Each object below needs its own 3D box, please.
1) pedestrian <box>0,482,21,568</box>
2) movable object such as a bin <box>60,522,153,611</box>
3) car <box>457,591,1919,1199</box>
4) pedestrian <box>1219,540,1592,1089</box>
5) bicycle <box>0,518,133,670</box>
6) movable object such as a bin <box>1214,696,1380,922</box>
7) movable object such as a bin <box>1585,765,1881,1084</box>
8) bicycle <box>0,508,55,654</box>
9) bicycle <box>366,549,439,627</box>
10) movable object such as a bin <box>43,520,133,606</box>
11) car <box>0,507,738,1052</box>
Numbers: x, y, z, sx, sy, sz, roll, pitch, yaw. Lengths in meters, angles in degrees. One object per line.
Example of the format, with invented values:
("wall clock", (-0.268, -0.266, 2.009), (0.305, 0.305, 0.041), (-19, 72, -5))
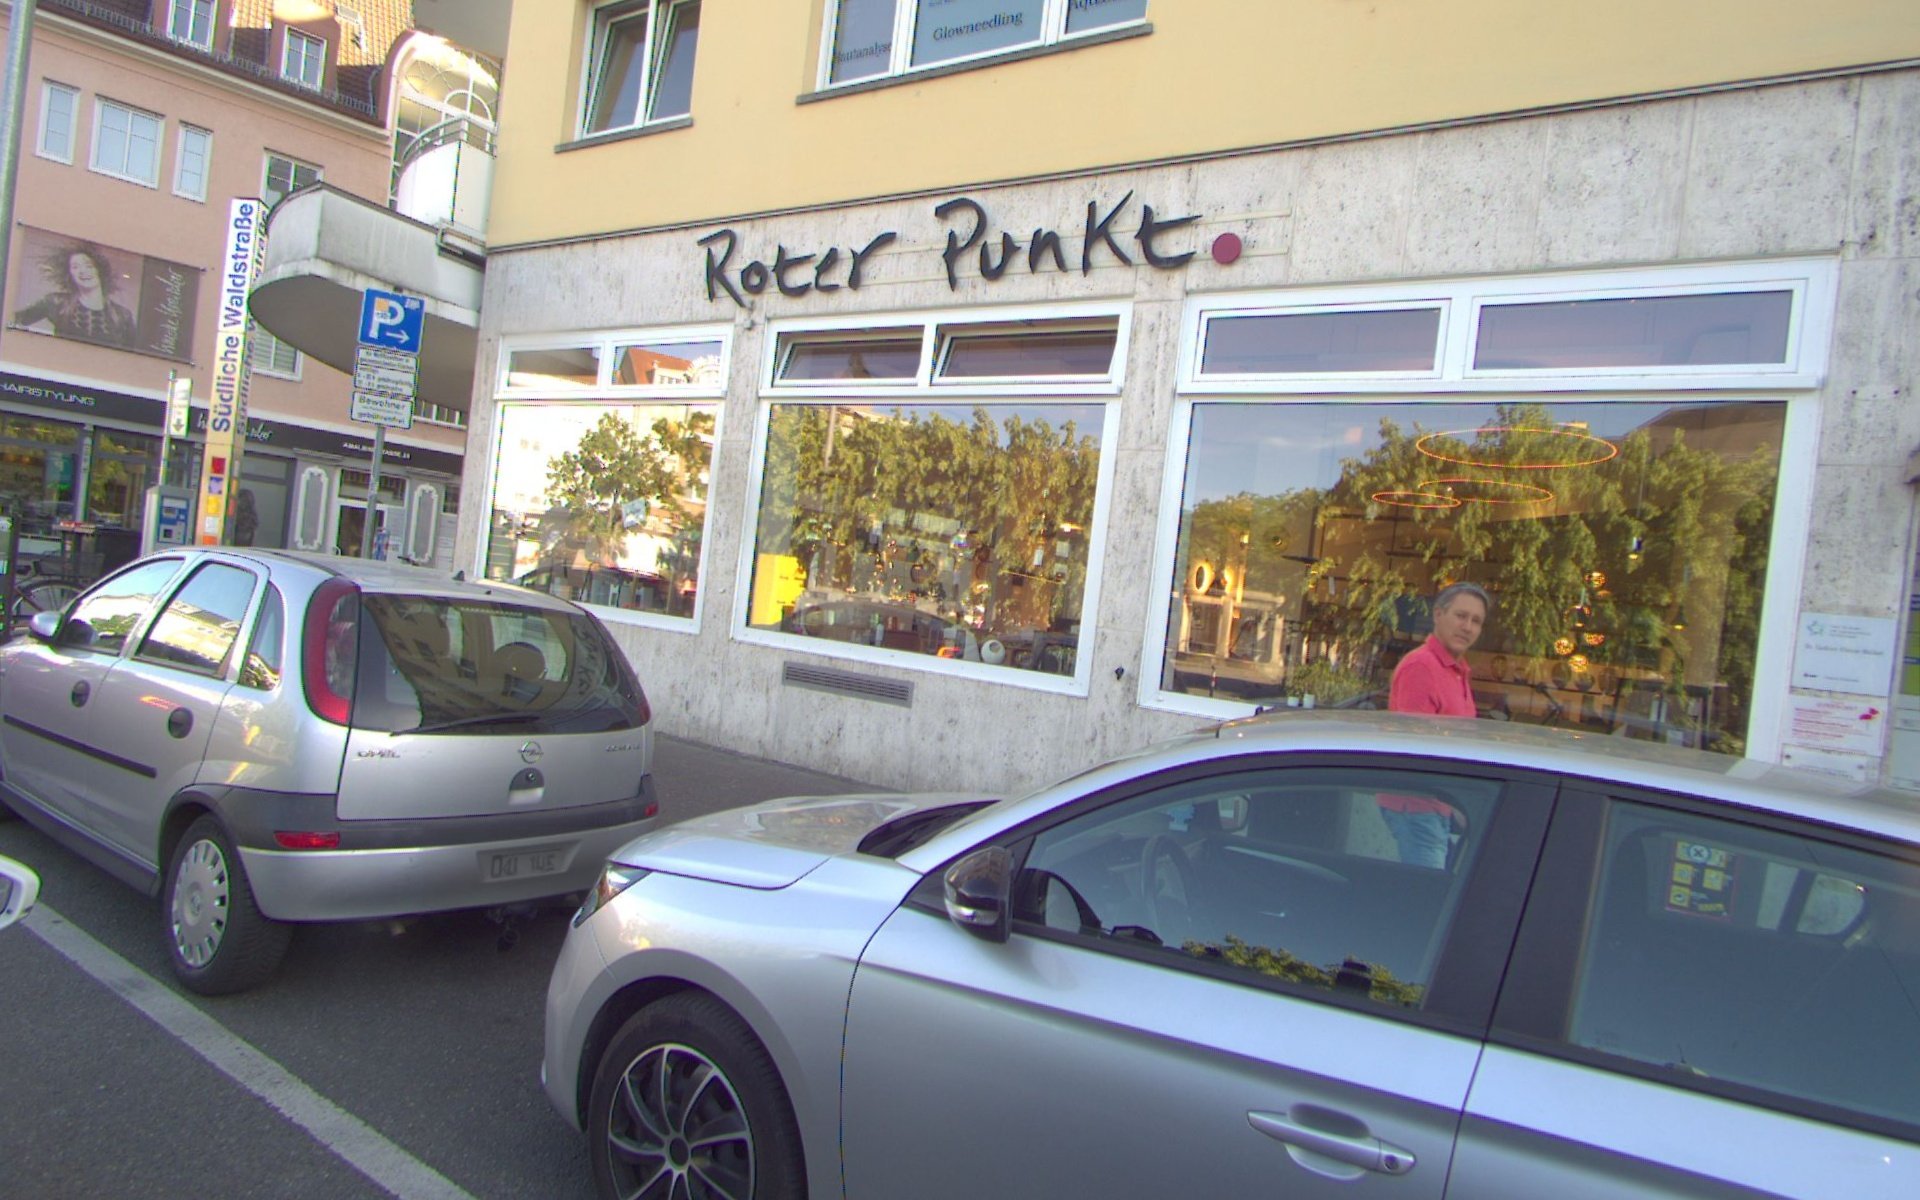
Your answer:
("pedestrian", (-18.158, -1.439, 18.714), (0.688, 1.571, 0.747), (7, 0, 34))
("movable object such as a bin", (-11.897, -0.466, 14.035), (0.617, 1.105, 0.754), (6, -1, 34))
("car", (0.783, 0.931, 2.316), (3.643, 1.415, 1.653), (7, -1, 30))
("pedestrian", (1.772, 0.728, 4.007), (0.994, 1.807, 0.862), (7, 2, 40))
("bicycle", (-8.101, -0.081, 8.234), (0.681, 1.208, 1.885), (8, 1, 37))
("movable object such as a bin", (1.859, 1.086, 5.498), (0.592, 1.041, 0.811), (7, 0, 32))
("movable object such as a bin", (3.396, 1.374, 4.525), (0.879, 1.066, 0.751), (7, 0, 32))
("bicycle", (-9.105, -0.232, 8.708), (0.778, 1.284, 1.721), (7, 1, 37))
("bicycle", (-10.006, -0.232, 18.013), (0.656, 1.213, 2.187), (7, -1, -39))
("movable object such as a bin", (-12.433, -0.524, 14.355), (0.617, 1.105, 0.734), (6, -1, 34))
("car", (-2.937, 0.484, 4.468), (3.583, 1.397, 1.616), (7, -2, 32))
